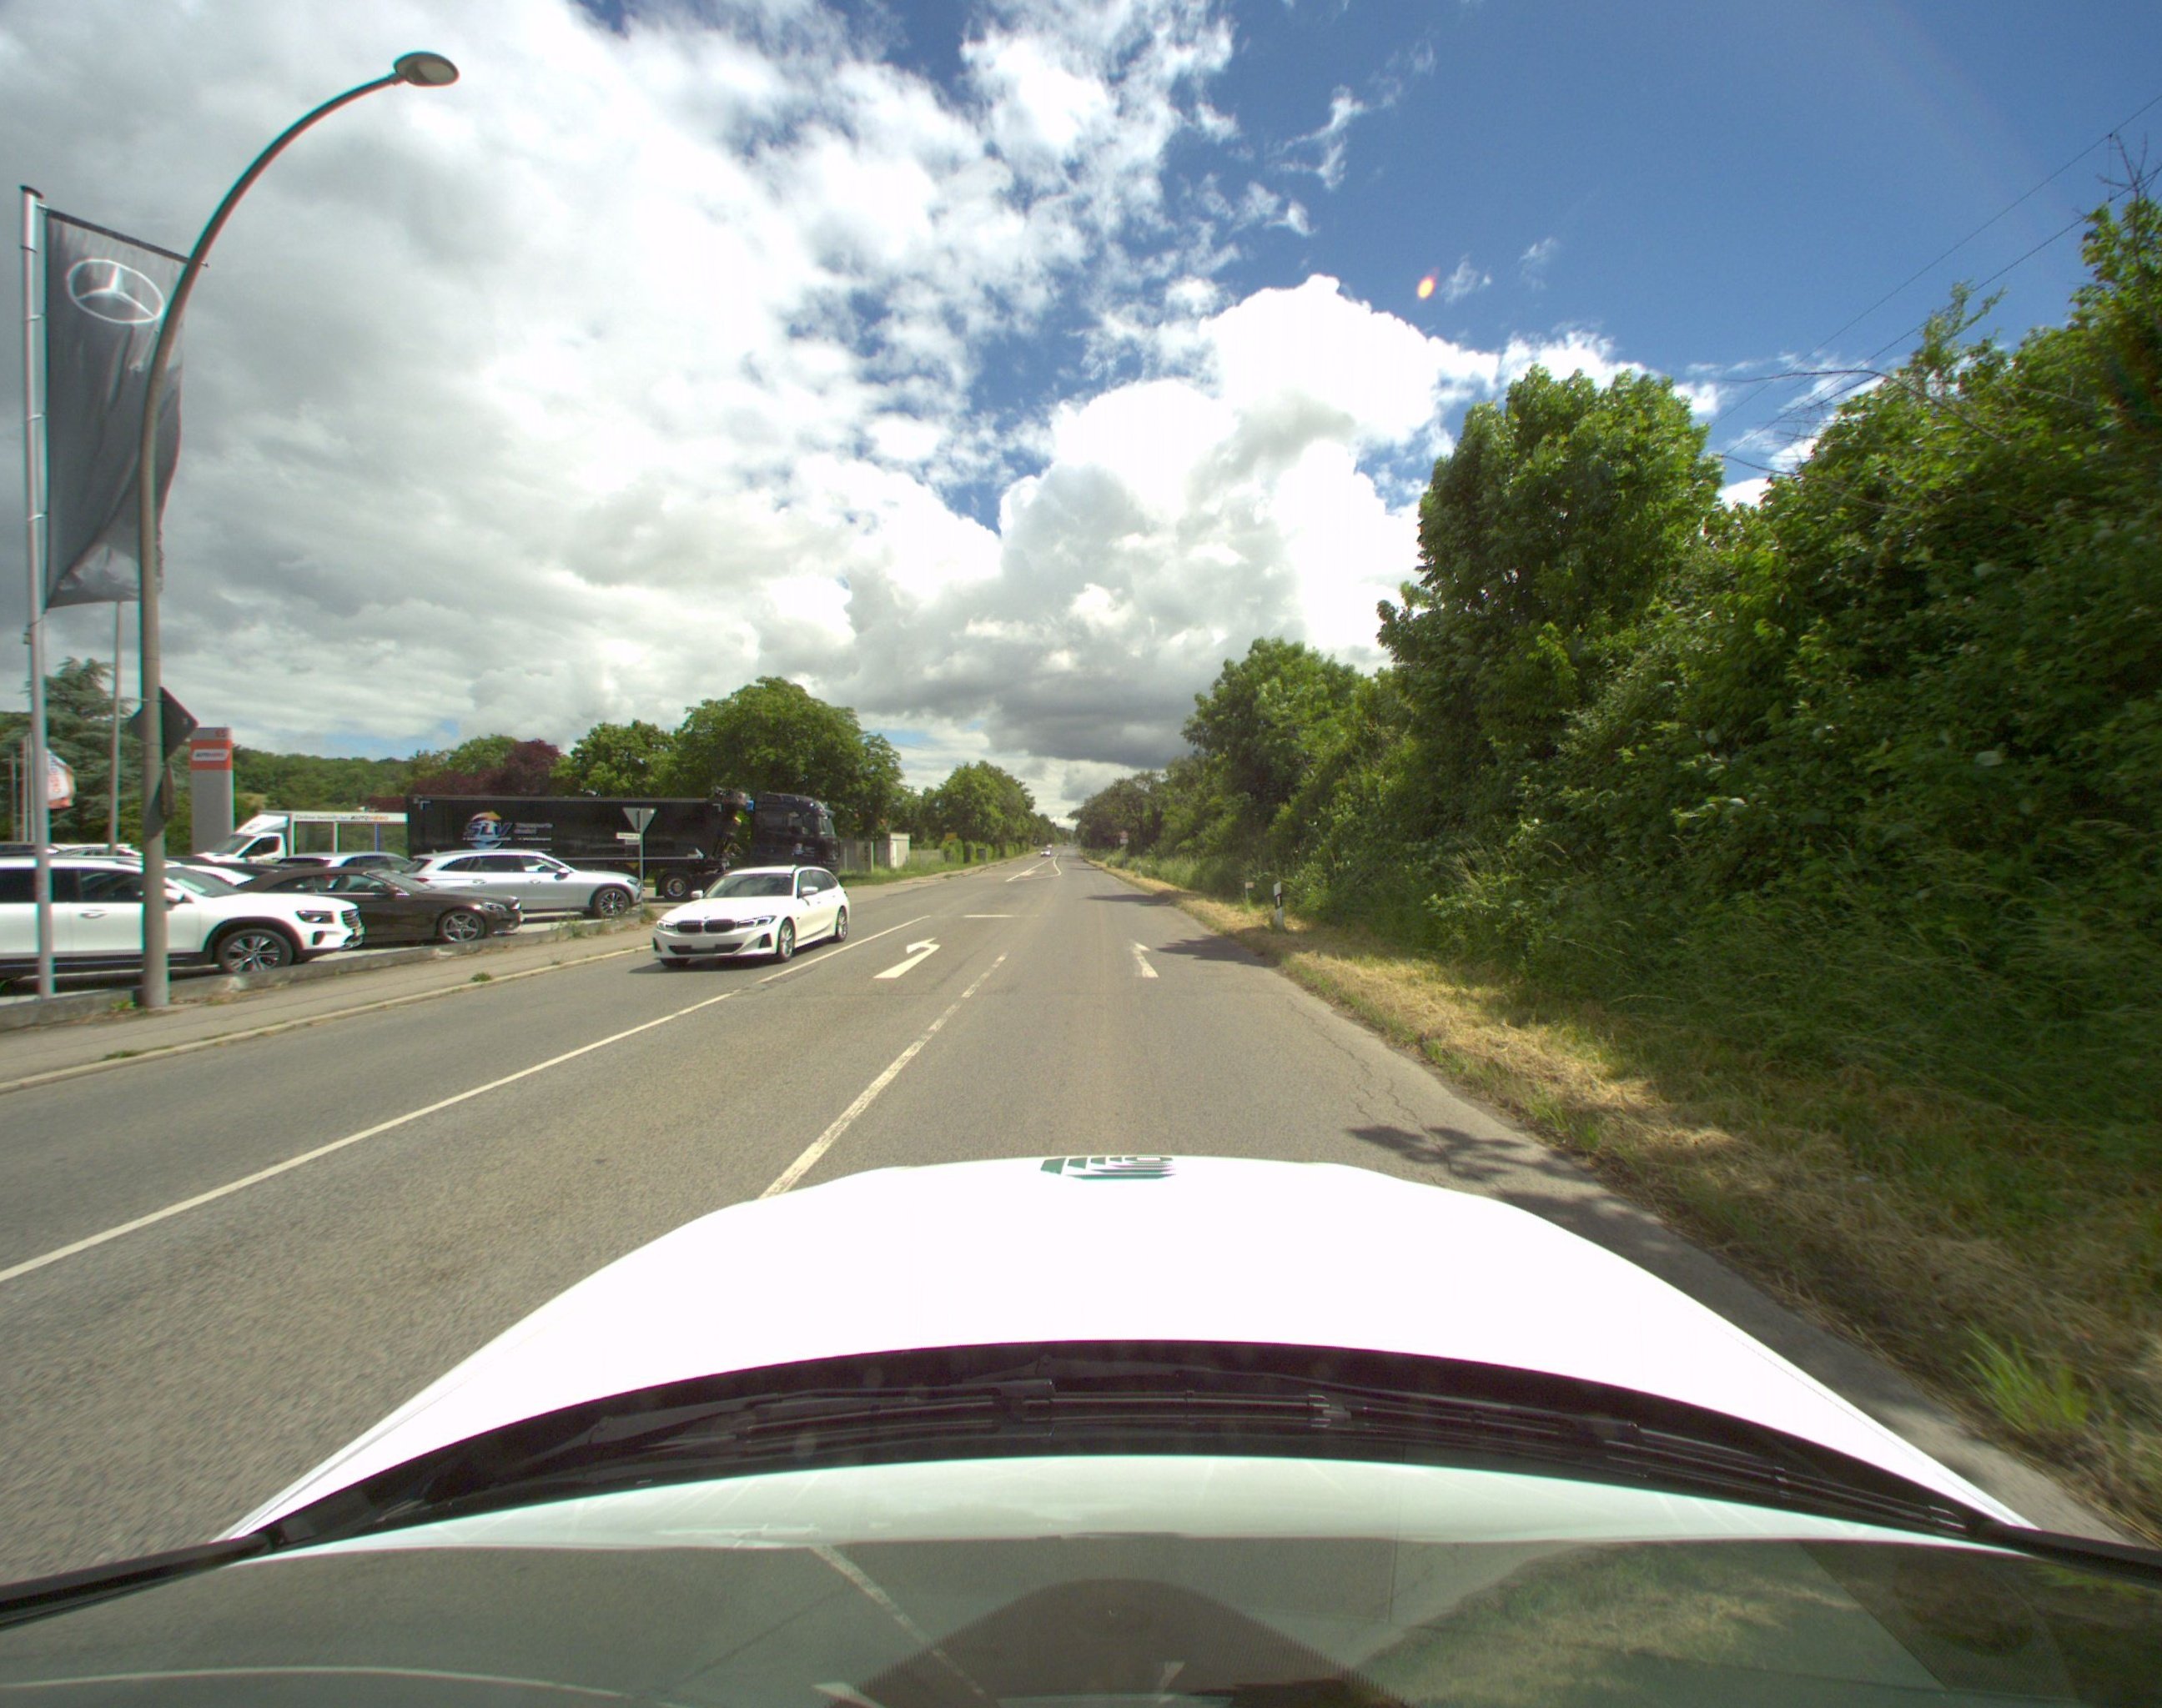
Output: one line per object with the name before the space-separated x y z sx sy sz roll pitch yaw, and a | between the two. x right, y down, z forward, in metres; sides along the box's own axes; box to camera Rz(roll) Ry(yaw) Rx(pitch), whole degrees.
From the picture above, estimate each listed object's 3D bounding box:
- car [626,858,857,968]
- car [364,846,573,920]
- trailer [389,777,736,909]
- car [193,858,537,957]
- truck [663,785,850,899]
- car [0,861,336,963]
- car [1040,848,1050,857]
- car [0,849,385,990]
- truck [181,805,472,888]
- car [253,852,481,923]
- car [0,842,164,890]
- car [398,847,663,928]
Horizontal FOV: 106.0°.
car | -5.374 0.841 13.668 1.987 1.450 4.425 -2 0 0
car | -15.732 0.658 21.305 1.924 1.721 4.601 0 0 1
trailer | -17.242 -0.411 28.082 9.457 4.083 3.301 -1 0 -17
car | -12.553 0.857 14.715 4.340 1.465 1.781 -1 2 -28
truck | -11.496 -0.441 29.355 5.546 3.823 2.979 -1 0 -6
car | -16.637 0.929 14.639 1.844 1.467 4.588 2 2 40
car | -6.202 -0.257 140.552 1.656 1.432 3.690 -2 1 -2
car | -12.602 0.789 11.193 4.313 1.678 1.918 -1 0 -31
truck | -31.229 -0.315 34.384 2.633 3.049 8.637 -1 0 22
car | -18.741 0.797 21.750 1.791 1.601 4.765 -2 0 1
car | -41.083 0.449 33.121 1.810 1.845 4.703 -1 0 29
car | -12.519 0.659 18.767 1.963 1.605 4.771 1 1 44
